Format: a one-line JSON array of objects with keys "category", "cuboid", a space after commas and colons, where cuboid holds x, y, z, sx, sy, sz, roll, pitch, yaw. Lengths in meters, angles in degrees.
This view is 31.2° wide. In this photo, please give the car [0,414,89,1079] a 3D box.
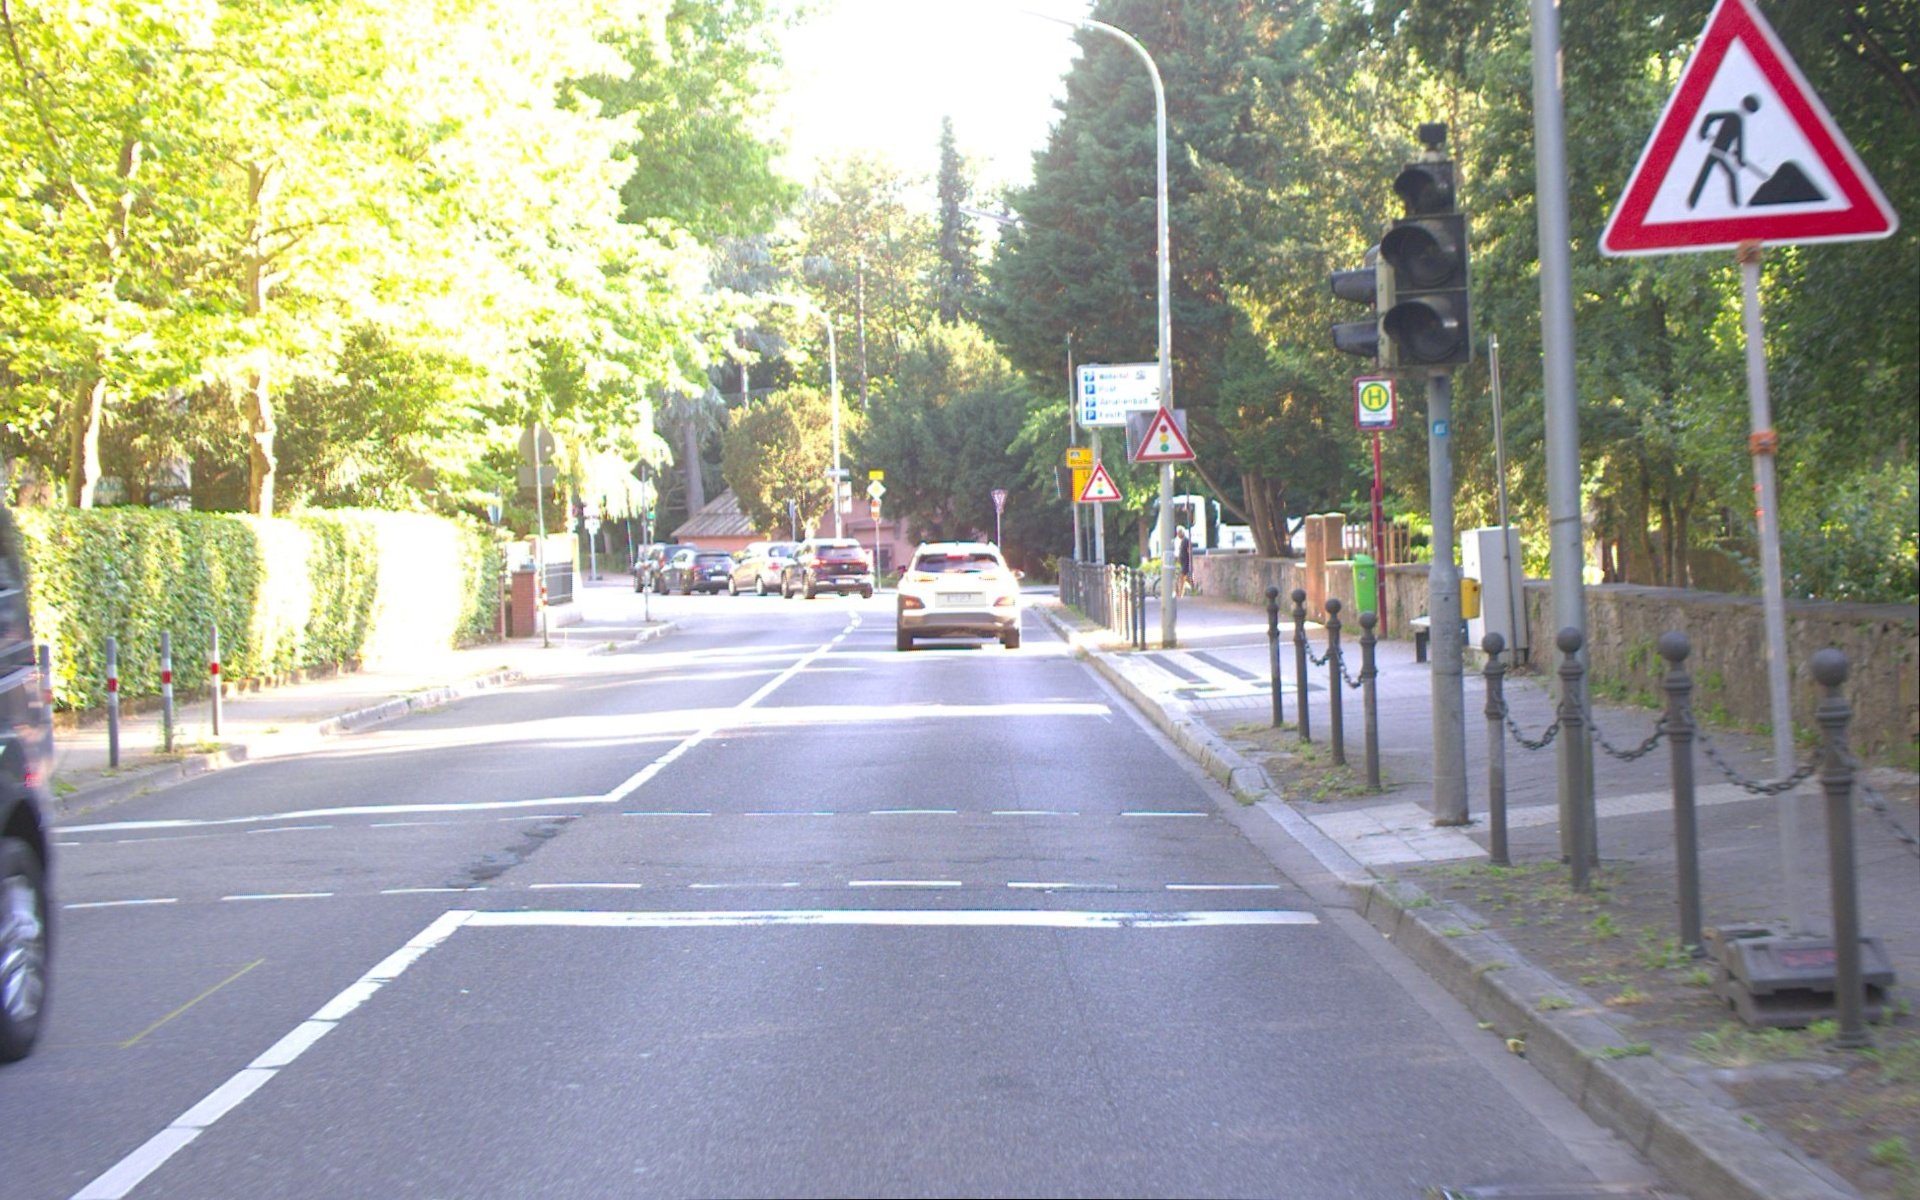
[{"category": "car", "cuboid": [-3.806, 0.496, 8.824, 1.993, 1.962, 4.778, -3, 1, -2]}]

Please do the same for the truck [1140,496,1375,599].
[{"category": "truck", "cuboid": [8.503, -1.506, 98.310, 6.588, 2.885, 2.433, 0, 1, 5]}]

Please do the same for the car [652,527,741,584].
[{"category": "car", "cuboid": [-8.198, -1.384, 106.823, 1.831, 1.656, 4.001, 2, 1, -18]}]

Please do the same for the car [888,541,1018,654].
[{"category": "car", "cuboid": [-0.122, -0.070, 51.431, 1.820, 1.568, 4.000, 2, 1, -1]}]

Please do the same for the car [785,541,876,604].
[{"category": "car", "cuboid": [-3.531, -0.756, 93.177, 1.831, 1.656, 4.001, 0, 1, -12]}]

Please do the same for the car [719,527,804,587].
[{"category": "car", "cuboid": [-5.845, -1.271, 100.903, 1.831, 1.735, 4.001, 0, 1, -13]}]
